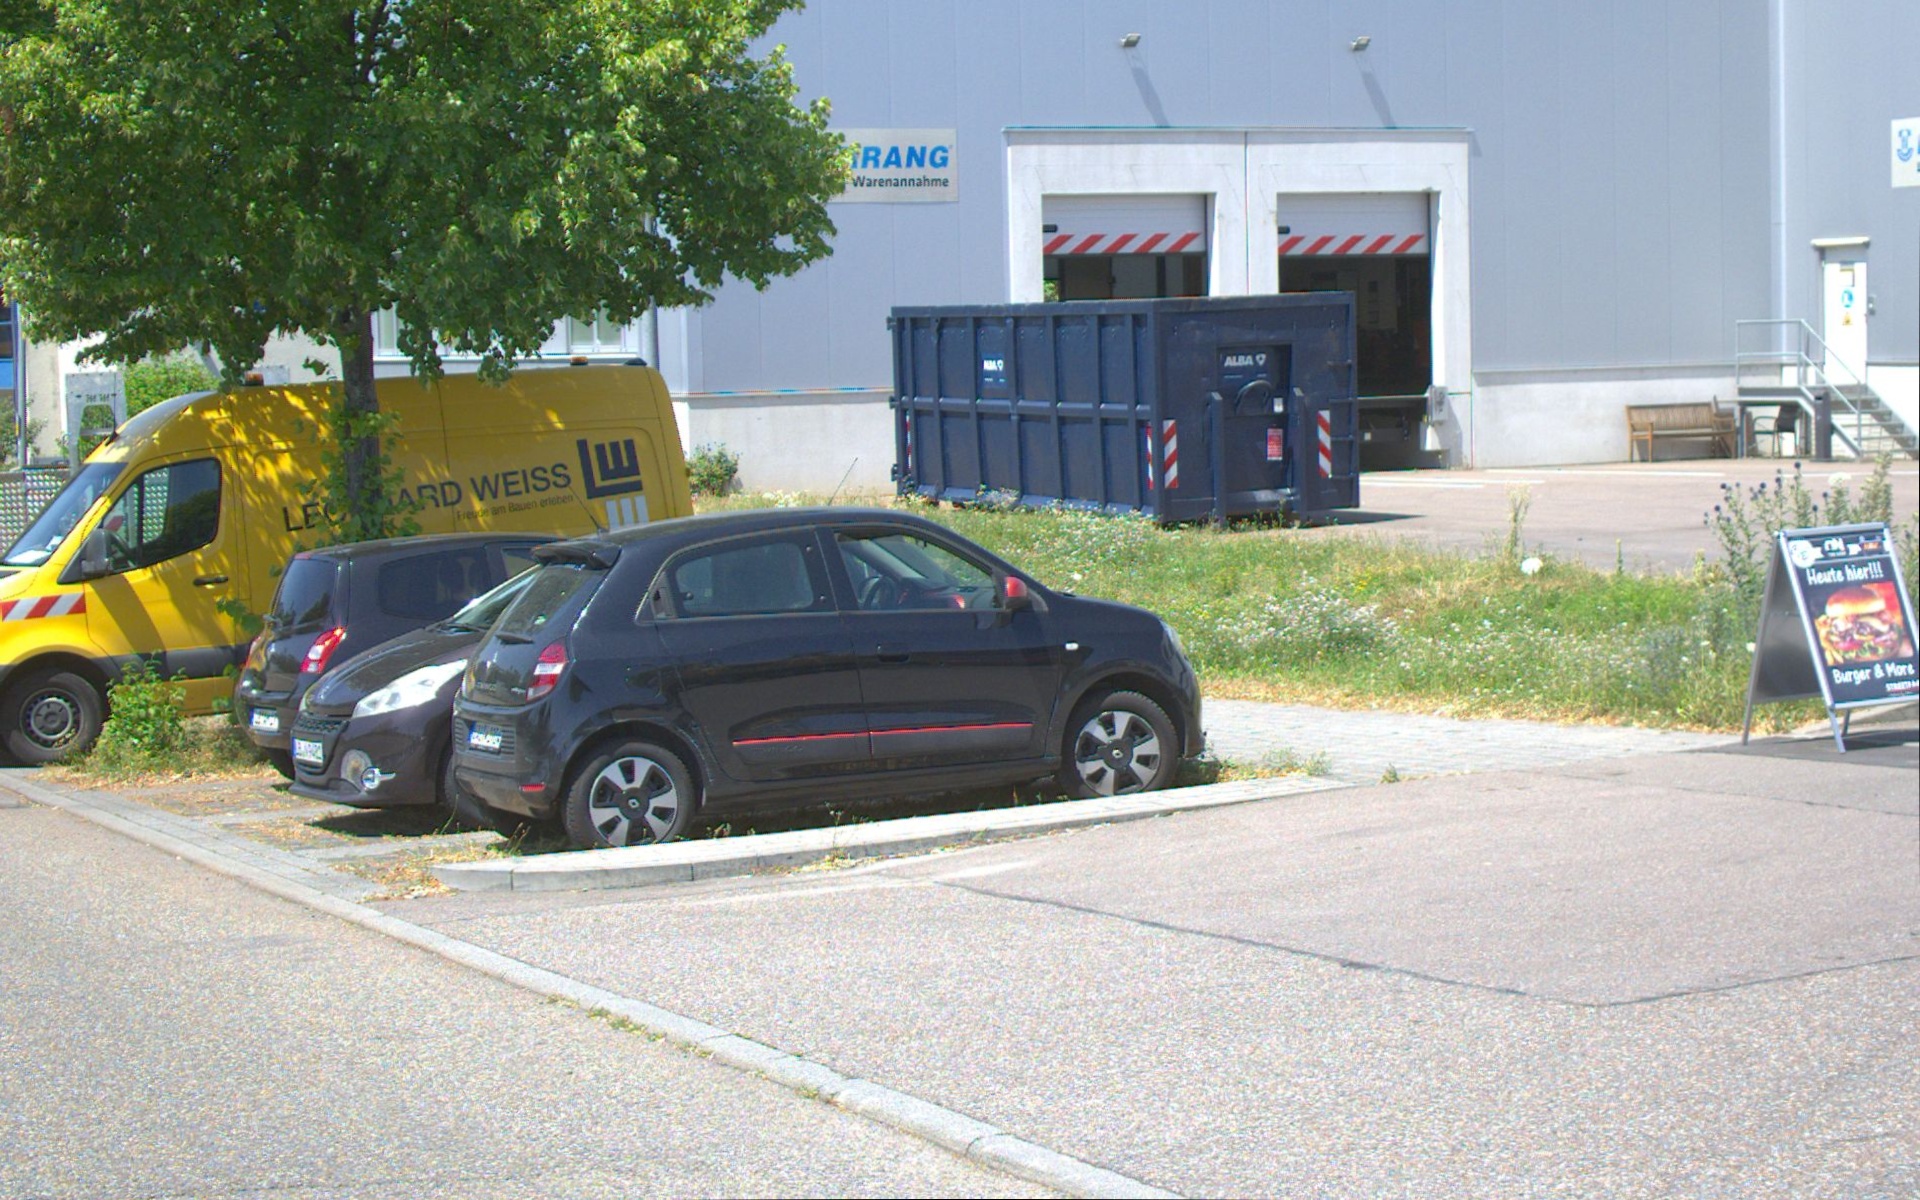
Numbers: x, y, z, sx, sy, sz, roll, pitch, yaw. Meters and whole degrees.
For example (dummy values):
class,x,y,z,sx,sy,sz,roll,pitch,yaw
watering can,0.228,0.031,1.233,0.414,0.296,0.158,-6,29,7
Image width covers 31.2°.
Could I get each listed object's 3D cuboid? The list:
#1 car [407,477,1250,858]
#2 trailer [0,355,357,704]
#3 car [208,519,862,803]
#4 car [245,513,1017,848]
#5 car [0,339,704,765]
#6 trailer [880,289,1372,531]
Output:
class,x,y,z,sx,sy,sz,roll,pitch,yaw
car,-0.630,0.252,16.659,3.660,1.457,1.627,-5,3,-24
trailer,-7.900,-0.711,32.242,2.656,2.847,5.521,-5,4,-28
car,-2.601,0.311,21.113,3.602,1.473,1.628,-3,3,-26
car,-1.758,0.361,18.547,3.770,1.502,1.591,-3,3,-27
car,-5.005,-0.434,25.293,5.779,2.723,2.001,-4,4,-26
trailer,1.684,-2.298,39.286,2.658,2.412,7.418,-2,6,-23
